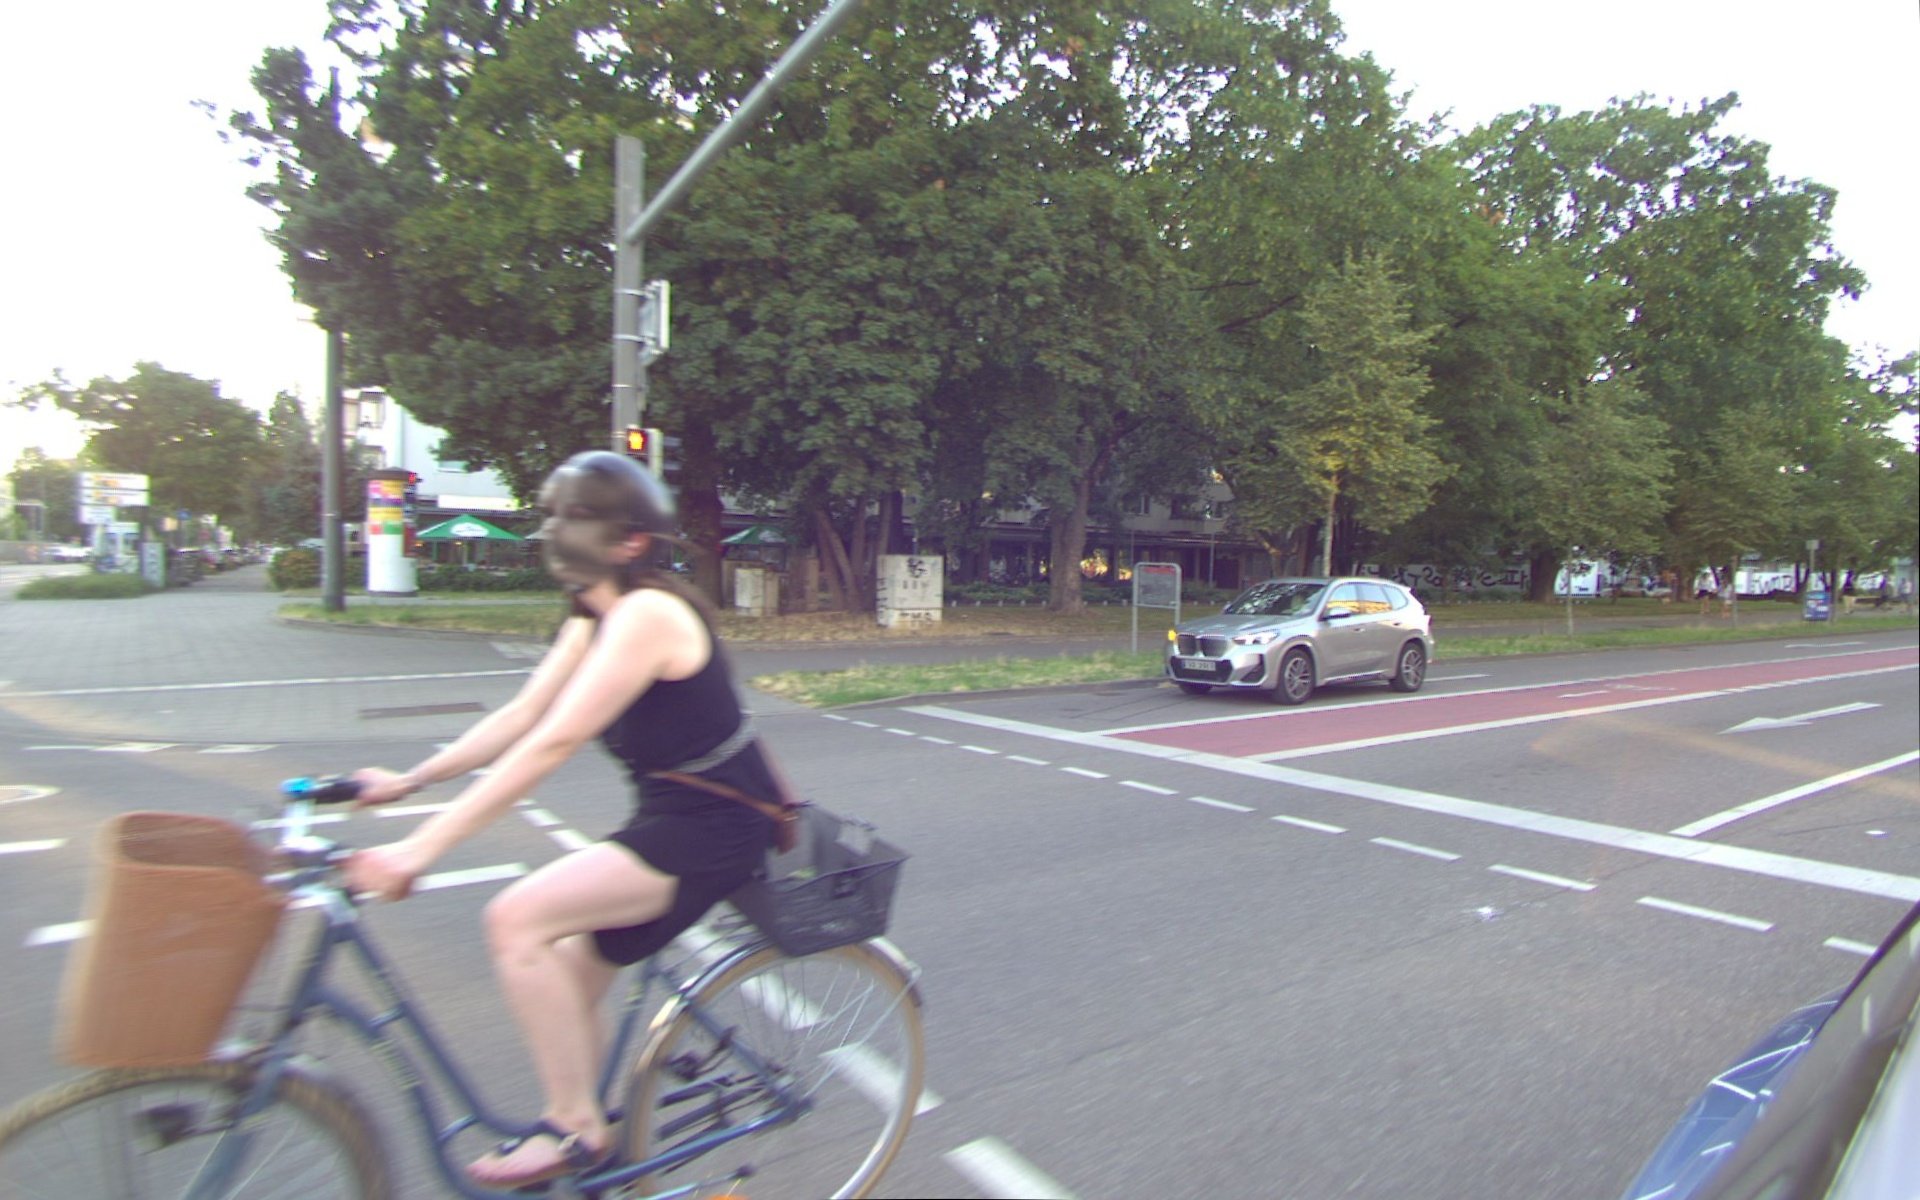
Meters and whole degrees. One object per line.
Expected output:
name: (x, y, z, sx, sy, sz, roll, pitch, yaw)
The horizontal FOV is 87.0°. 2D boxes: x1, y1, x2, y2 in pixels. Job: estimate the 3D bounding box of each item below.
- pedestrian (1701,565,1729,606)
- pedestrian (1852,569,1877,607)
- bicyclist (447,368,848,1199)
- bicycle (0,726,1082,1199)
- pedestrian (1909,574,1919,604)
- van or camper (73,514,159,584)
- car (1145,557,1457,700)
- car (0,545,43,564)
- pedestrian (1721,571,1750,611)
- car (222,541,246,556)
pedestrian: (29.953, -0.575, 40.155, 0.664, 1.614, 0.647, 0, 2, -31)
pedestrian: (40.754, -0.546, 45.618, 0.633, 1.683, 0.633, 0, 2, -29)
bicyclist: (-0.627, 0.465, 1.964, 0.585, 1.656, 0.610, 0, 2, -34)
bicycle: (-0.760, 0.920, 1.891, 2.046, 1.128, 0.610, 0, 2, -34)
pedestrian: (47.682, -0.562, 50.227, 0.633, 1.481, 0.633, 0, 2, -31)
van or camper: (-34.766, -2.094, 41.820, 2.070, 2.714, 4.715, 0, 2, -31)
car: (4.783, 0.296, 14.015, 4.262, 1.684, 1.888, 0, 2, -34)
car: (-86.492, -4.129, 92.504, 3.736, 1.669, 1.864, 0, 2, -34)
pedestrian: (30.293, -0.350, 39.516, 0.633, 1.515, 0.678, 0, 2, -32)
car: (-76.583, -5.396, 106.791, 1.689, 1.505, 3.815, 0, 2, -29)
